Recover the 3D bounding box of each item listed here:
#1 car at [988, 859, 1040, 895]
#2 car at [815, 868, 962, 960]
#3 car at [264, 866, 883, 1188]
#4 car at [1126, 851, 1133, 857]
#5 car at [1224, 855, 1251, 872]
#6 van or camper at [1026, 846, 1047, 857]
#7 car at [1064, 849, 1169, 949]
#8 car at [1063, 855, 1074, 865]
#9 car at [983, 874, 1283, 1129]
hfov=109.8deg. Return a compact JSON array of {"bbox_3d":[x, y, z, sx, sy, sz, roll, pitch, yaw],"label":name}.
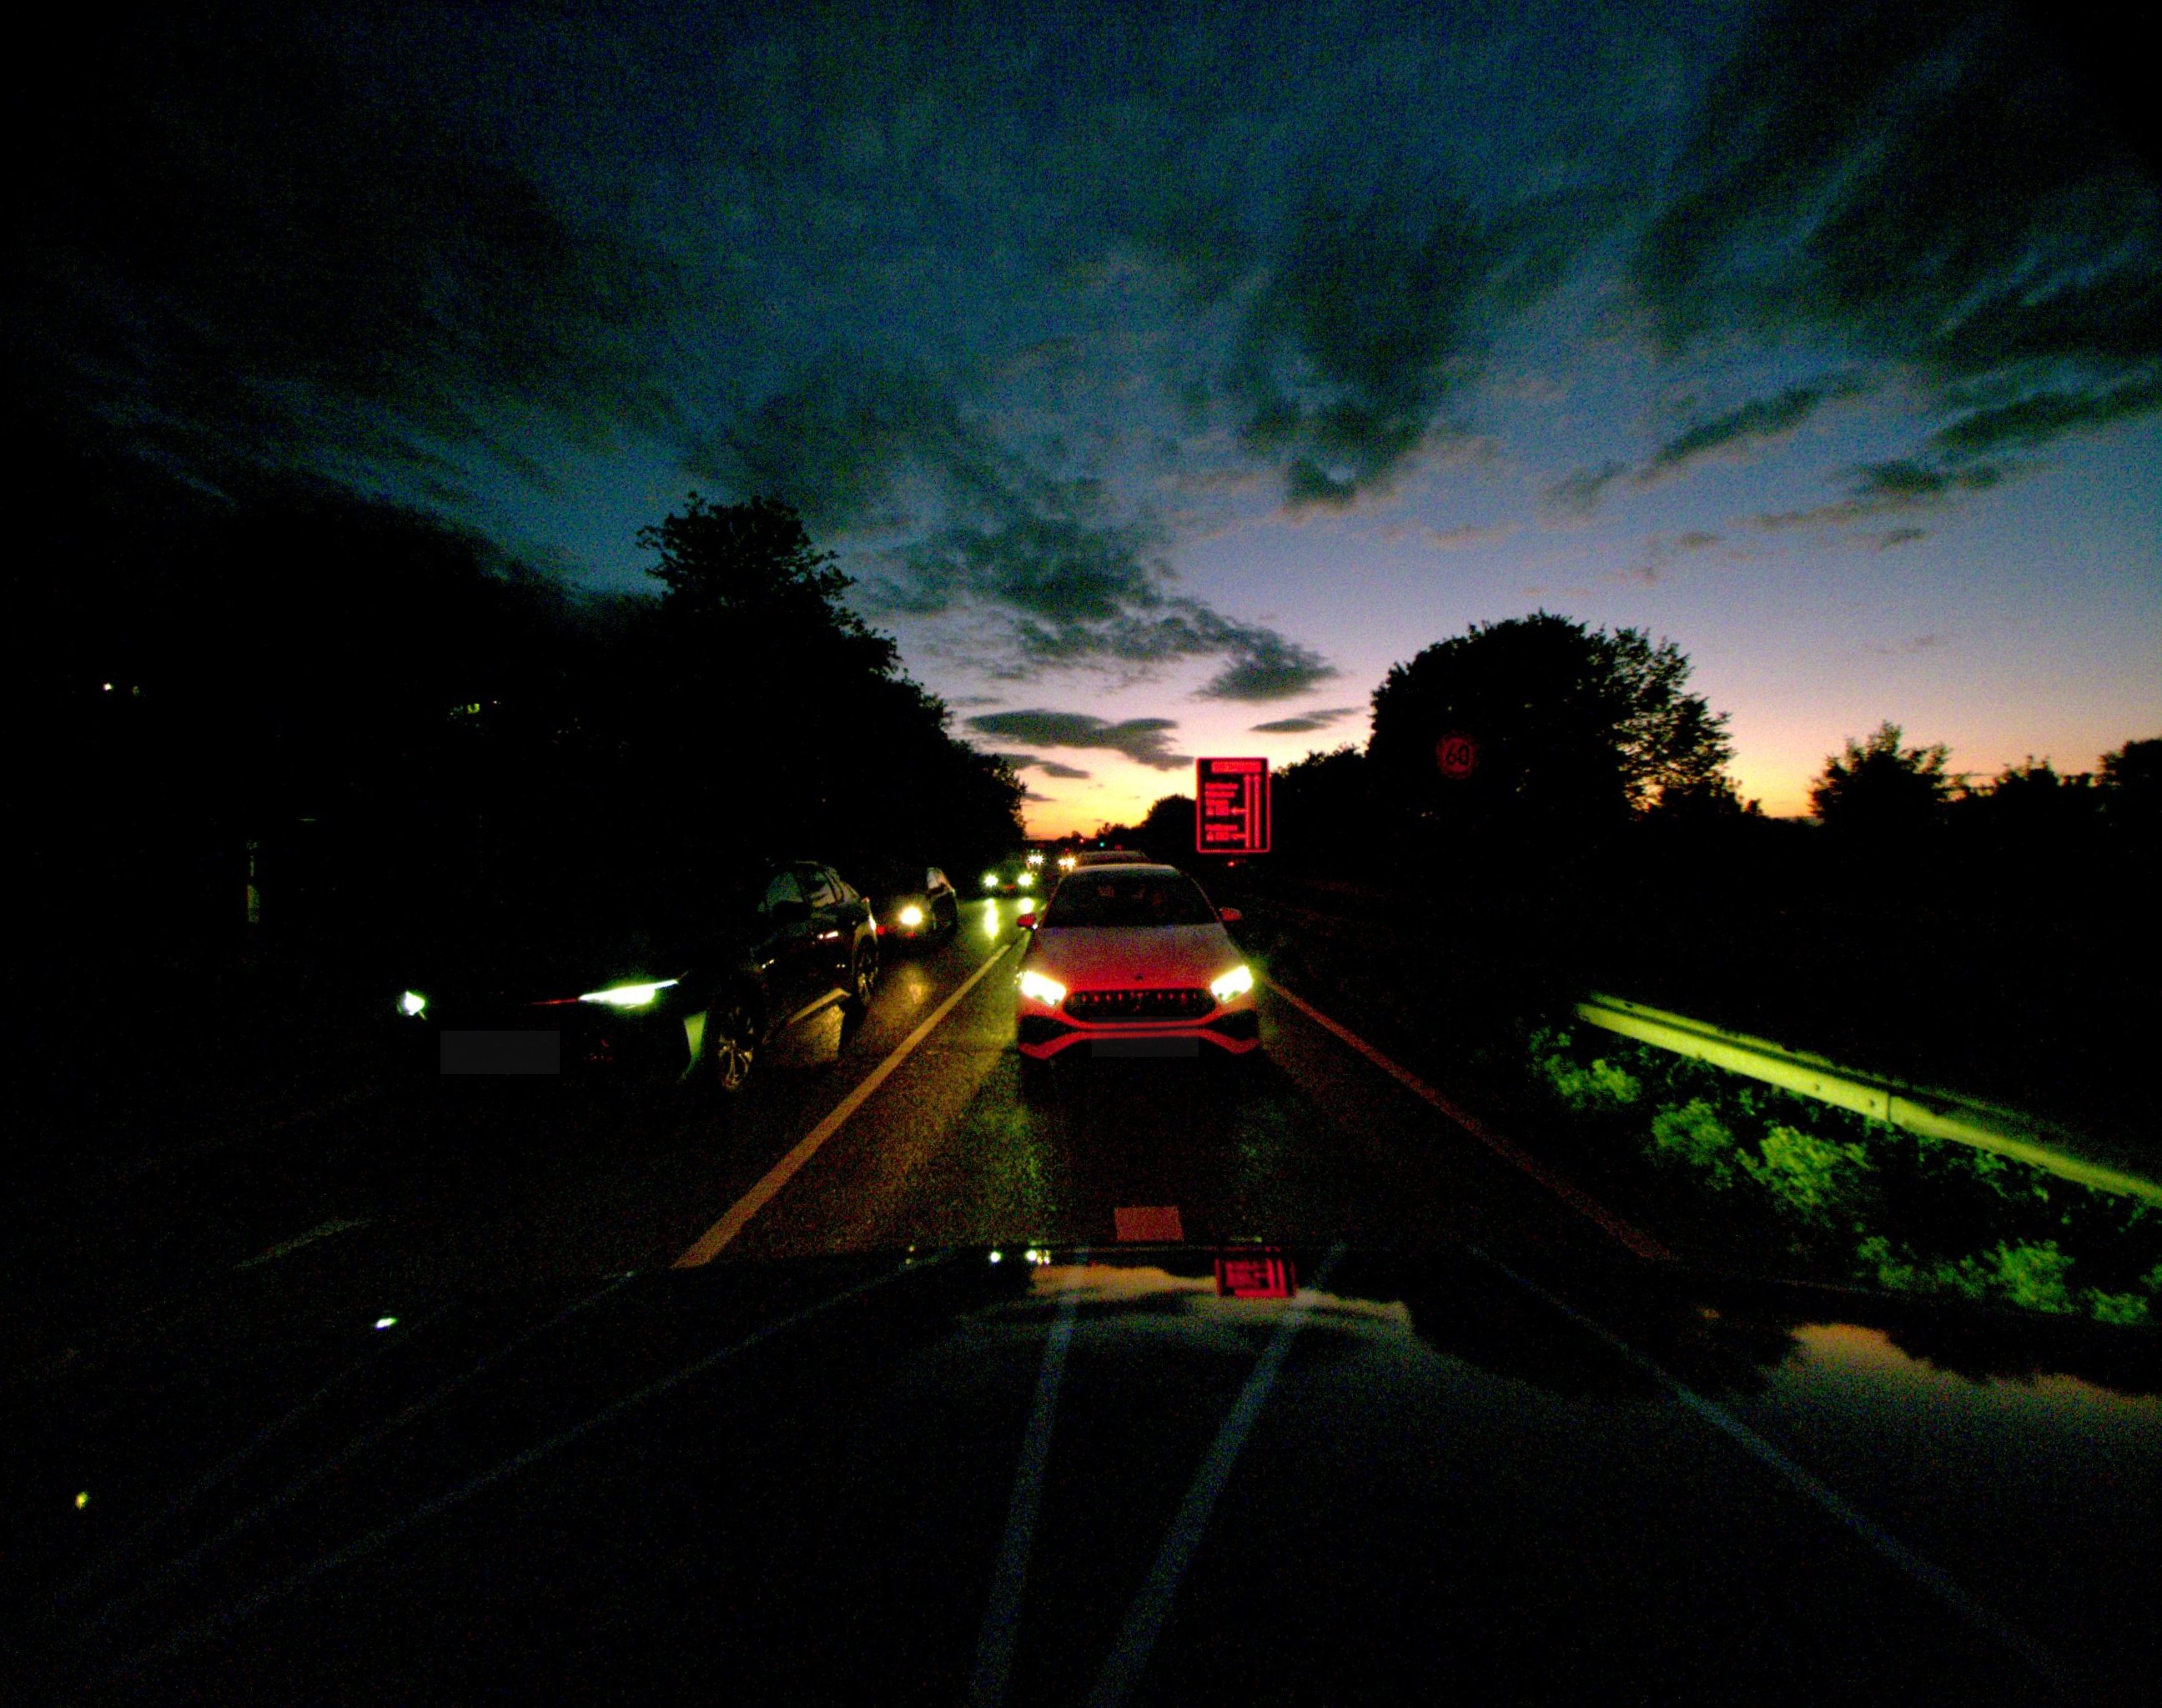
[{"bbox_3d":[-2.839,0.949,32.981,1.819,1.360,3.999,-2,1,1],"label":"car"},{"bbox_3d":[-3.374,0.997,14.031,1.621,1.405,3.756,-1,0,2],"label":"car"},{"bbox_3d":[-3.190,0.931,6.075,1.901,1.547,4.301,-3,0,2],"label":"car"},{"bbox_3d":[12.585,-0.050,197.341,1.781,1.551,3.999,-2,1,1],"label":"car"},{"bbox_3d":[14.123,0.828,68.708,1.632,1.496,4.591,0,0,1],"label":"car"},{"bbox_3d":[-13.376,-0.759,227.111,3.956,3.107,9.925,0,0,-19],"label":"van or camper"},{"bbox_3d":[0.683,0.799,15.316,1.760,1.692,4.250,-2,0,2],"label":"car"},{"bbox_3d":[-1.919,0.913,114.368,1.606,1.291,3.552,-2,1,-1],"label":"car"},{"bbox_3d":[0.399,1.000,7.151,1.819,1.428,4.647,-4,0,2],"label":"car"}]
